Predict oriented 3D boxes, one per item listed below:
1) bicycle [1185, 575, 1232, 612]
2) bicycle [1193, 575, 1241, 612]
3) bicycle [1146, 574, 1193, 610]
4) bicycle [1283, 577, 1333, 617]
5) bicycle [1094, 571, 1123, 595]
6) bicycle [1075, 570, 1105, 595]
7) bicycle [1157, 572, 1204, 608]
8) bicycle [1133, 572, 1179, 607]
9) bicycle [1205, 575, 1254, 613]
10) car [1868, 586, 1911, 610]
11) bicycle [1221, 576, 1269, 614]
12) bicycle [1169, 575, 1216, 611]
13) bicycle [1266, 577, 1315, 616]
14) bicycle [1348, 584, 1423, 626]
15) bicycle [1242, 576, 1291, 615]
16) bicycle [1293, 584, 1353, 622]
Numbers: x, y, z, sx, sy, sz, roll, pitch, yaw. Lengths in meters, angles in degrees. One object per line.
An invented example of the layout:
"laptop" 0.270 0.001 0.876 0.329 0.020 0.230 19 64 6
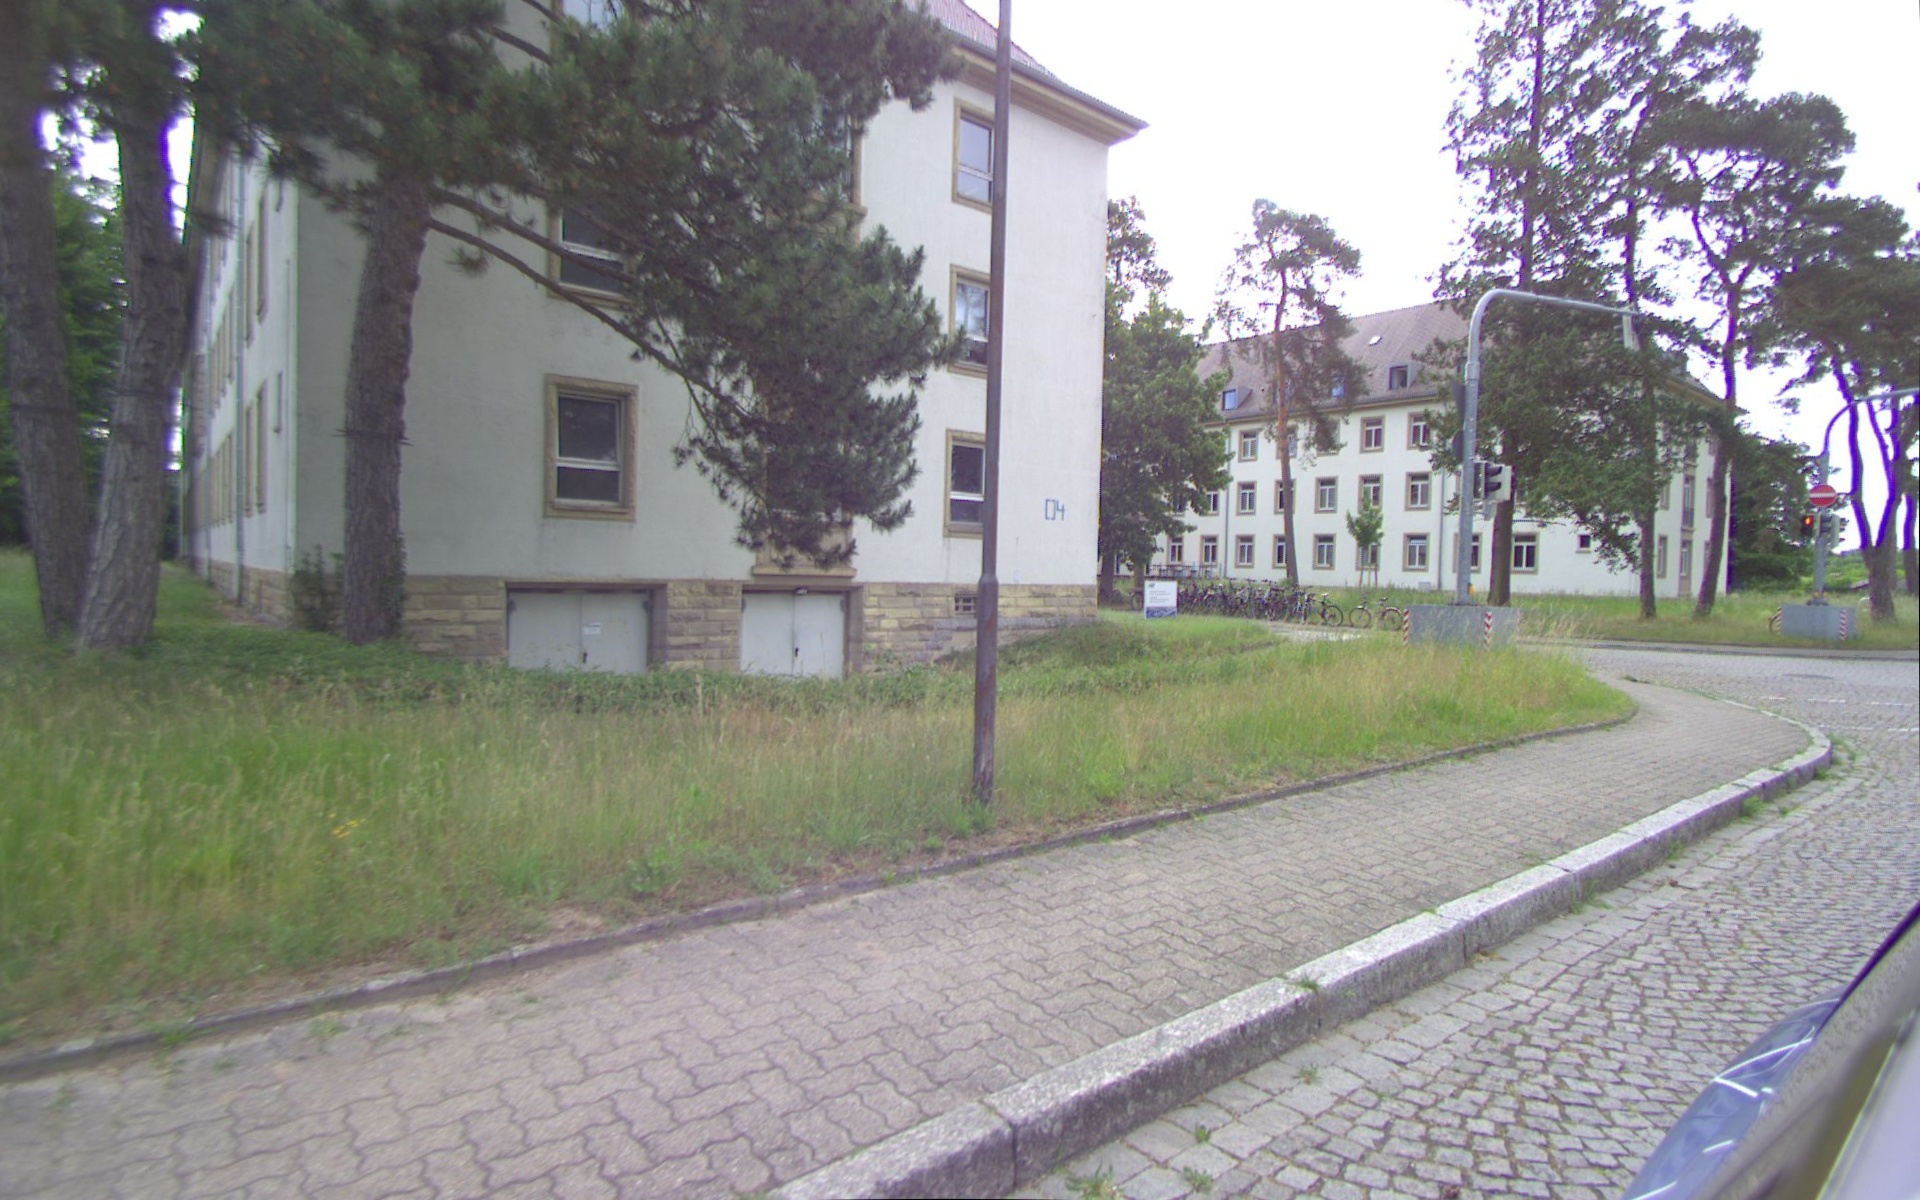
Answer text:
"bicycle" 8.902 -0.228 36.210 1.954 1.263 0.623 1 1 -41
"bicycle" 9.165 -0.216 35.991 1.954 1.263 0.623 1 1 -41
"bicycle" 7.797 -0.288 37.562 1.954 1.263 0.623 1 1 -41
"bicycle" 11.431 -0.094 33.235 1.954 1.263 0.623 1 1 -41
"bicycle" 6.900 -0.786 47.031 1.525 1.138 0.401 0 2 -38
"bicycle" 6.177 -0.830 48.028 1.525 1.138 0.401 0 2 -38
"bicycle" 8.126 -0.350 37.192 1.954 1.263 0.623 1 1 -41
"bicycle" 7.377 -0.406 38.067 1.955 1.263 0.623 -2 3 -41
"bicycle" 9.487 -0.198 35.577 1.954 1.263 0.623 1 1 -41
"car" 58.147 -0.114 63.292 3.137 1.455 1.487 1 1 -38
"bicycle" 9.885 -0.176 35.085 1.954 1.263 0.623 1 1 -41
"bicycle" 8.467 -0.253 36.811 1.954 1.263 0.623 1 1 -41
"bicycle" 11.031 -0.115 33.719 1.954 1.263 0.623 1 1 -41
"bicycle" 12.471 0.134 29.731 0.612 1.127 1.989 1 1 -36
"bicycle" 10.432 -0.147 34.424 1.954 1.263 0.623 1 1 -41
"bicycle" 11.178 0.082 31.195 0.612 1.096 1.678 1 1 -35
